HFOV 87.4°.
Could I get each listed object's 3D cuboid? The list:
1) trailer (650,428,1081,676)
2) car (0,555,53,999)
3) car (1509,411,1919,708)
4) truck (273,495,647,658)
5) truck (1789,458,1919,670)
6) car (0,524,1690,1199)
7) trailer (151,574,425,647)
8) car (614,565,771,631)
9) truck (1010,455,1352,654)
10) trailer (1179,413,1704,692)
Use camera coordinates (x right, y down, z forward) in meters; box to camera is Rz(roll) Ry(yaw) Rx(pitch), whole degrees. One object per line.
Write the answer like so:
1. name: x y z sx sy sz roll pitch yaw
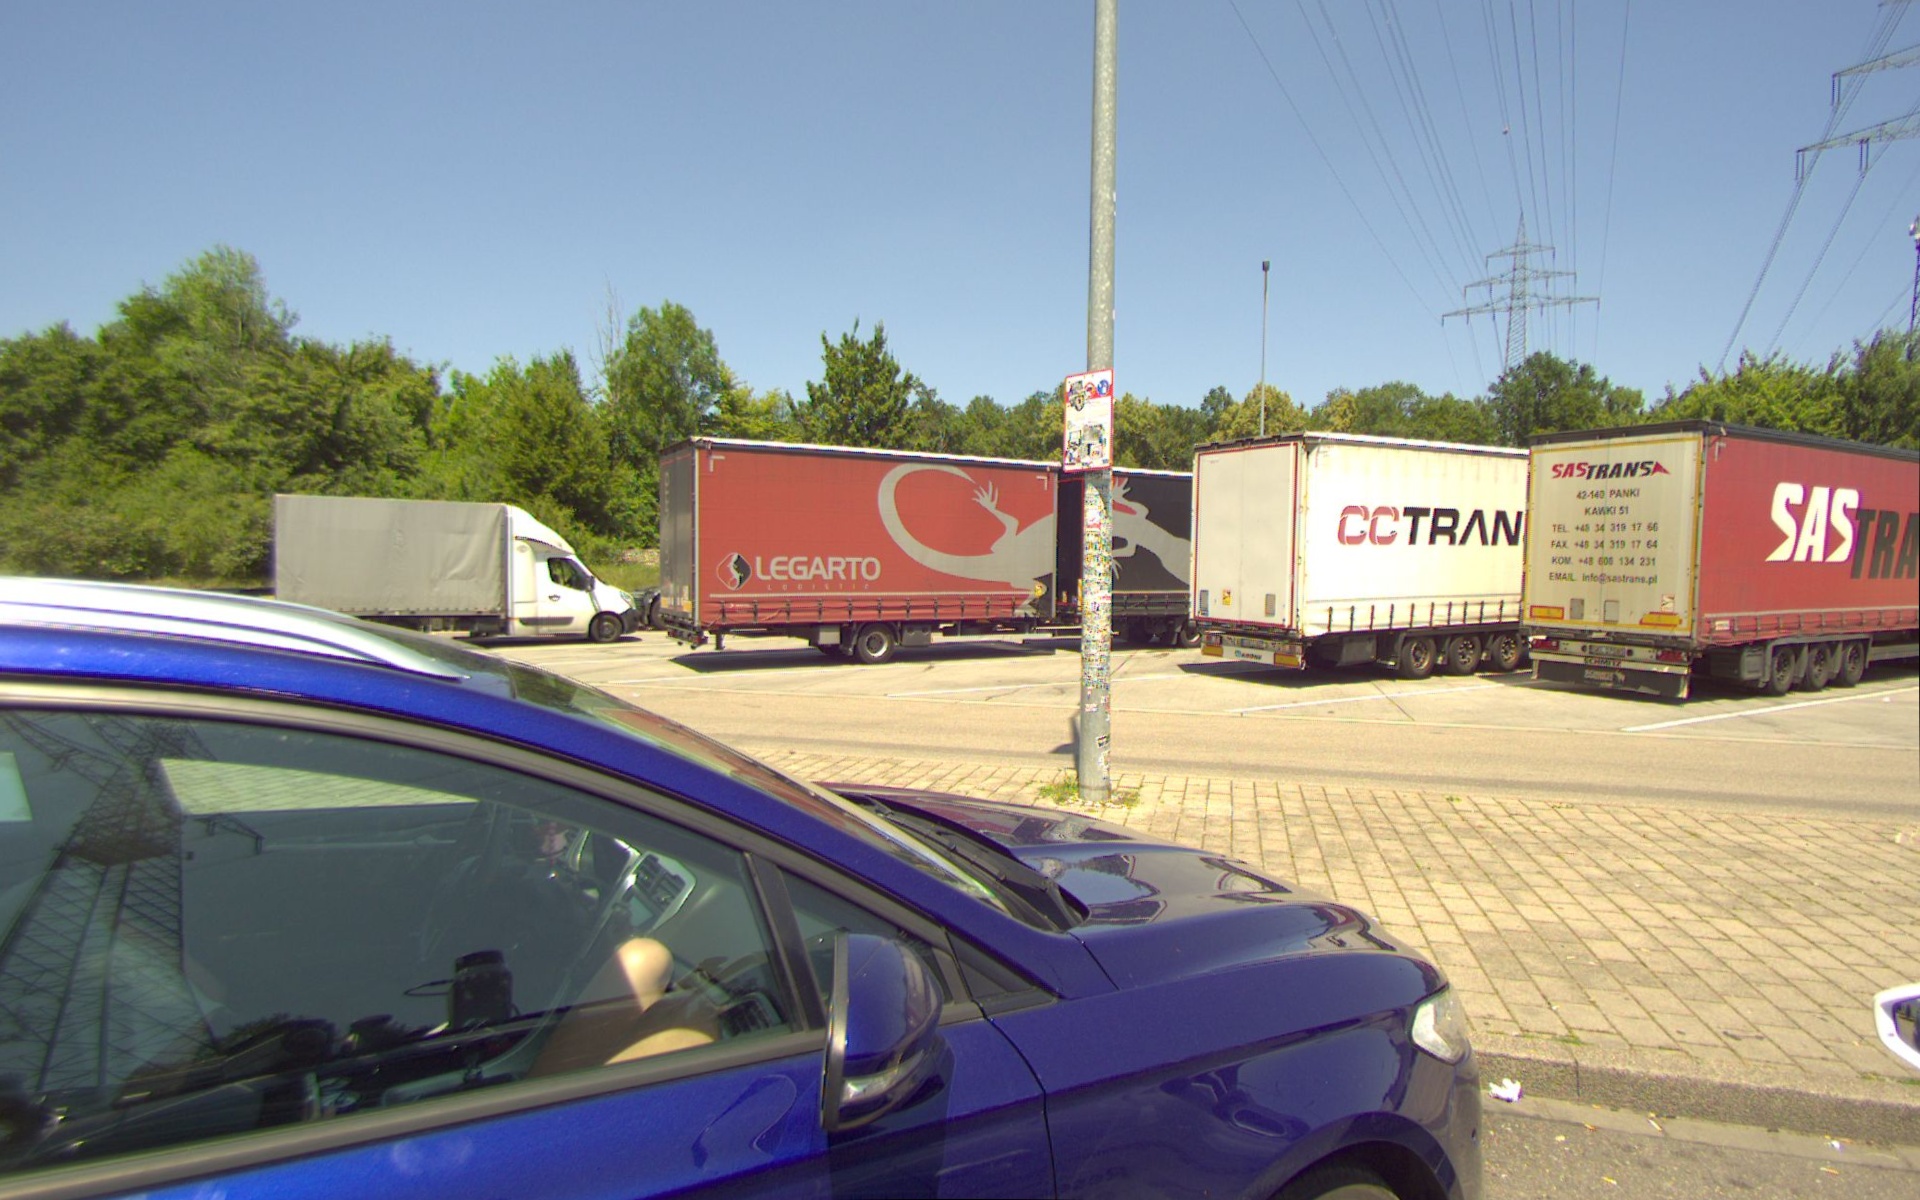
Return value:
1. trailer: -1.722 -0.928 20.516 8.389 4.248 2.800 -1 2 -30
2. car: -4.587 0.562 2.128 3.700 1.432 1.595 0 0 -32
3. car: 15.238 -0.691 18.469 12.777 4.169 2.683 -1 3 -30
4. truck: -11.093 -0.585 22.884 7.219 3.277 2.308 -2 3 -29
5. truck: 21.163 -0.772 21.881 6.163 4.169 2.683 -1 3 -30
6. car: -0.961 0.677 1.477 4.380 1.464 1.771 0 0 -32
7. trailer: -15.929 0.242 24.190 5.332 1.617 1.585 0 0 -31
8. car: -7.584 -0.048 28.527 3.953 1.773 1.902 0 0 -30
9. truck: 5.623 -1.078 24.841 8.683 4.248 2.800 -1 2 -30
10. trailer: 10.133 -0.880 20.081 12.786 4.325 2.800 -1 2 -31
